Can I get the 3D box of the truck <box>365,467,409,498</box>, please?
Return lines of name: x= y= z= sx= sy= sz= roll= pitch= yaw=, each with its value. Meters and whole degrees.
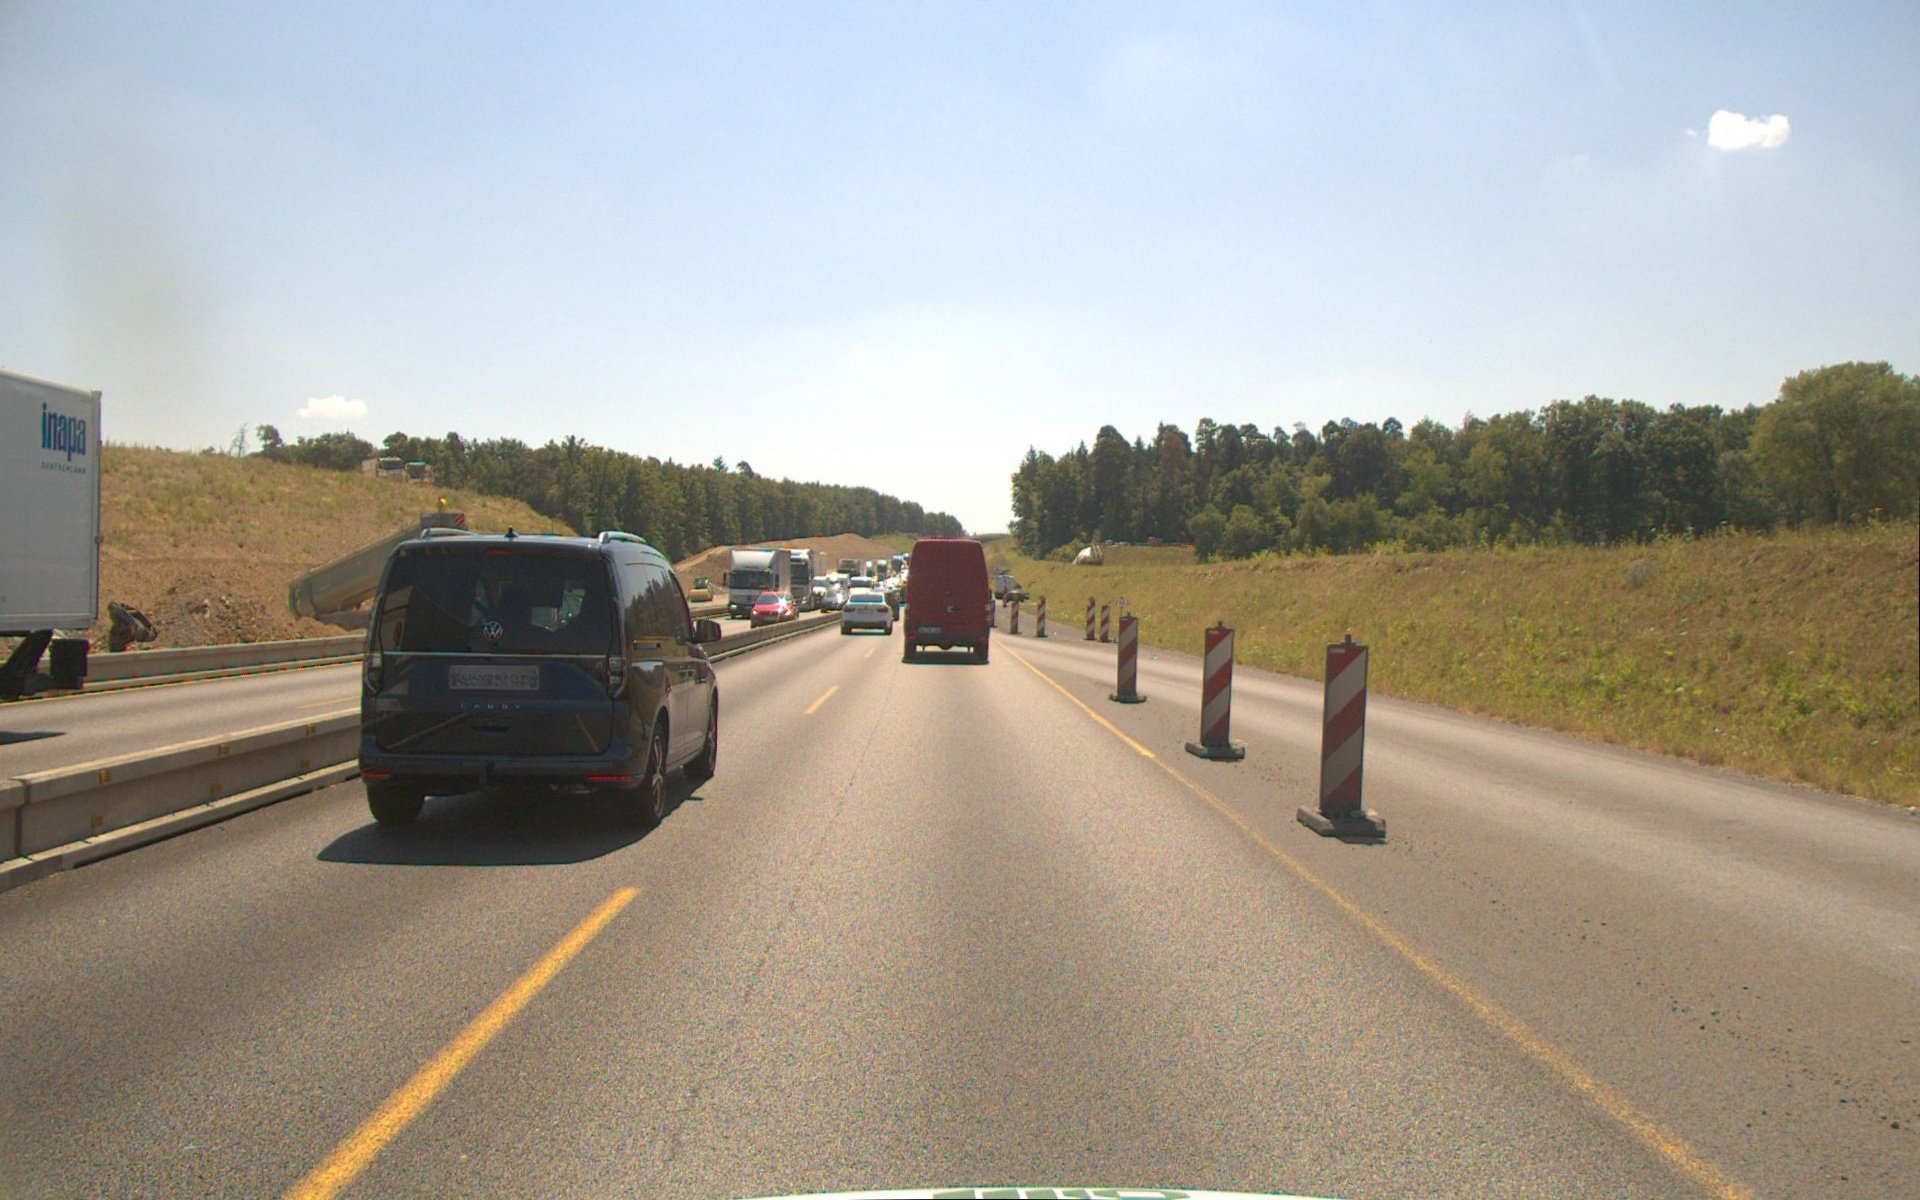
truck: x=-64.493 y=-13.219 z=185.924 sx=2.336 sy=2.949 sz=8.260 roll=1 pitch=0 yaw=-36

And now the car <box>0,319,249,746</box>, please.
car: x=-10.001 y=-0.641 z=15.954 sx=2.849 sy=3.805 sz=8.089 roll=1 pitch=1 yaw=-1

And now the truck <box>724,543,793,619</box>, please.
truck: x=-10.682 y=-0.942 z=88.568 sx=2.591 sy=3.781 sz=9.480 roll=1 pitch=0 yaw=-1

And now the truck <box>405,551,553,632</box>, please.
truck: x=-19.019 y=-0.304 z=65.473 sx=5.013 sy=3.016 sz=2.550 roll=2 pitch=-1 yaw=-39

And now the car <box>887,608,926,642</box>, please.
car: x=-2.752 y=1.283 z=85.444 sx=1.927 sy=1.568 sz=4.310 roll=1 pitch=1 yaw=-1

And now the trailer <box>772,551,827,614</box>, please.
trailer: x=-11.159 y=-1.144 z=116.157 sx=2.796 sy=4.165 sz=13.649 roll=0 pitch=0 yaw=-1

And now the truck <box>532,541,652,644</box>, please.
truck: x=-10.129 y=-0.277 z=46.072 sx=2.056 sy=2.614 sz=6.353 roll=2 pitch=1 yaw=-2

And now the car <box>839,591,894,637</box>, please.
car: x=-3.338 y=0.493 z=59.503 sx=1.794 sy=1.548 sz=3.960 roll=1 pitch=0 yaw=-1

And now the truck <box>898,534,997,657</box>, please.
truck: x=-0.329 y=-0.100 z=38.635 sx=2.109 sy=2.635 sz=5.331 roll=1 pitch=0 yaw=-1

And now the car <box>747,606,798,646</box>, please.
car: x=-7.323 y=0.991 z=64.918 sx=1.594 sy=1.510 sz=4.052 roll=1 pitch=0 yaw=-1

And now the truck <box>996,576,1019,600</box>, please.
truck: x=5.240 y=-1.341 z=182.796 sx=2.085 sy=2.499 sz=5.930 roll=1 pitch=1 yaw=6

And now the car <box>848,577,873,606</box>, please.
car: x=-8.448 y=-0.746 z=141.013 sx=1.953 sy=2.332 sz=5.342 roll=1 pitch=1 yaw=-2

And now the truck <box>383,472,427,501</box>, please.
truck: x=-64.864 y=-13.199 z=193.208 sx=2.277 sy=2.797 sz=8.793 roll=1 pitch=0 yaw=-36

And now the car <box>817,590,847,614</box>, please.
car: x=-8.164 y=0.148 z=105.782 sx=1.820 sy=1.467 sz=4.498 roll=1 pitch=0 yaw=-3

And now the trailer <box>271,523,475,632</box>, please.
trailer: x=-23.638 y=-0.930 z=66.458 sx=8.180 sy=4.170 sz=2.797 roll=1 pitch=0 yaw=27

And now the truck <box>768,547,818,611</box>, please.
truck: x=-10.973 y=-1.340 z=109.037 sx=2.791 sy=4.088 sz=4.858 roll=0 pitch=0 yaw=-1

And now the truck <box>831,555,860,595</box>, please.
truck: x=-12.516 y=-2.739 z=180.633 sx=2.439 sy=4.272 sz=5.914 roll=-1 pitch=0 yaw=3

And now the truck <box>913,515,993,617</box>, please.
truck: x=-0.493 y=-1.850 z=100.002 sx=4.311 sy=5.592 sz=16.600 roll=1 pitch=0 yaw=-1

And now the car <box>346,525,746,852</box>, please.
car: x=-2.698 y=0.476 z=11.934 sx=1.716 sy=1.856 sz=4.782 roll=1 pitch=1 yaw=-1

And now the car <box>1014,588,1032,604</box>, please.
car: x=6.278 y=-0.395 z=164.858 sx=1.620 sy=1.451 sz=4.545 roll=-2 pitch=1 yaw=0
